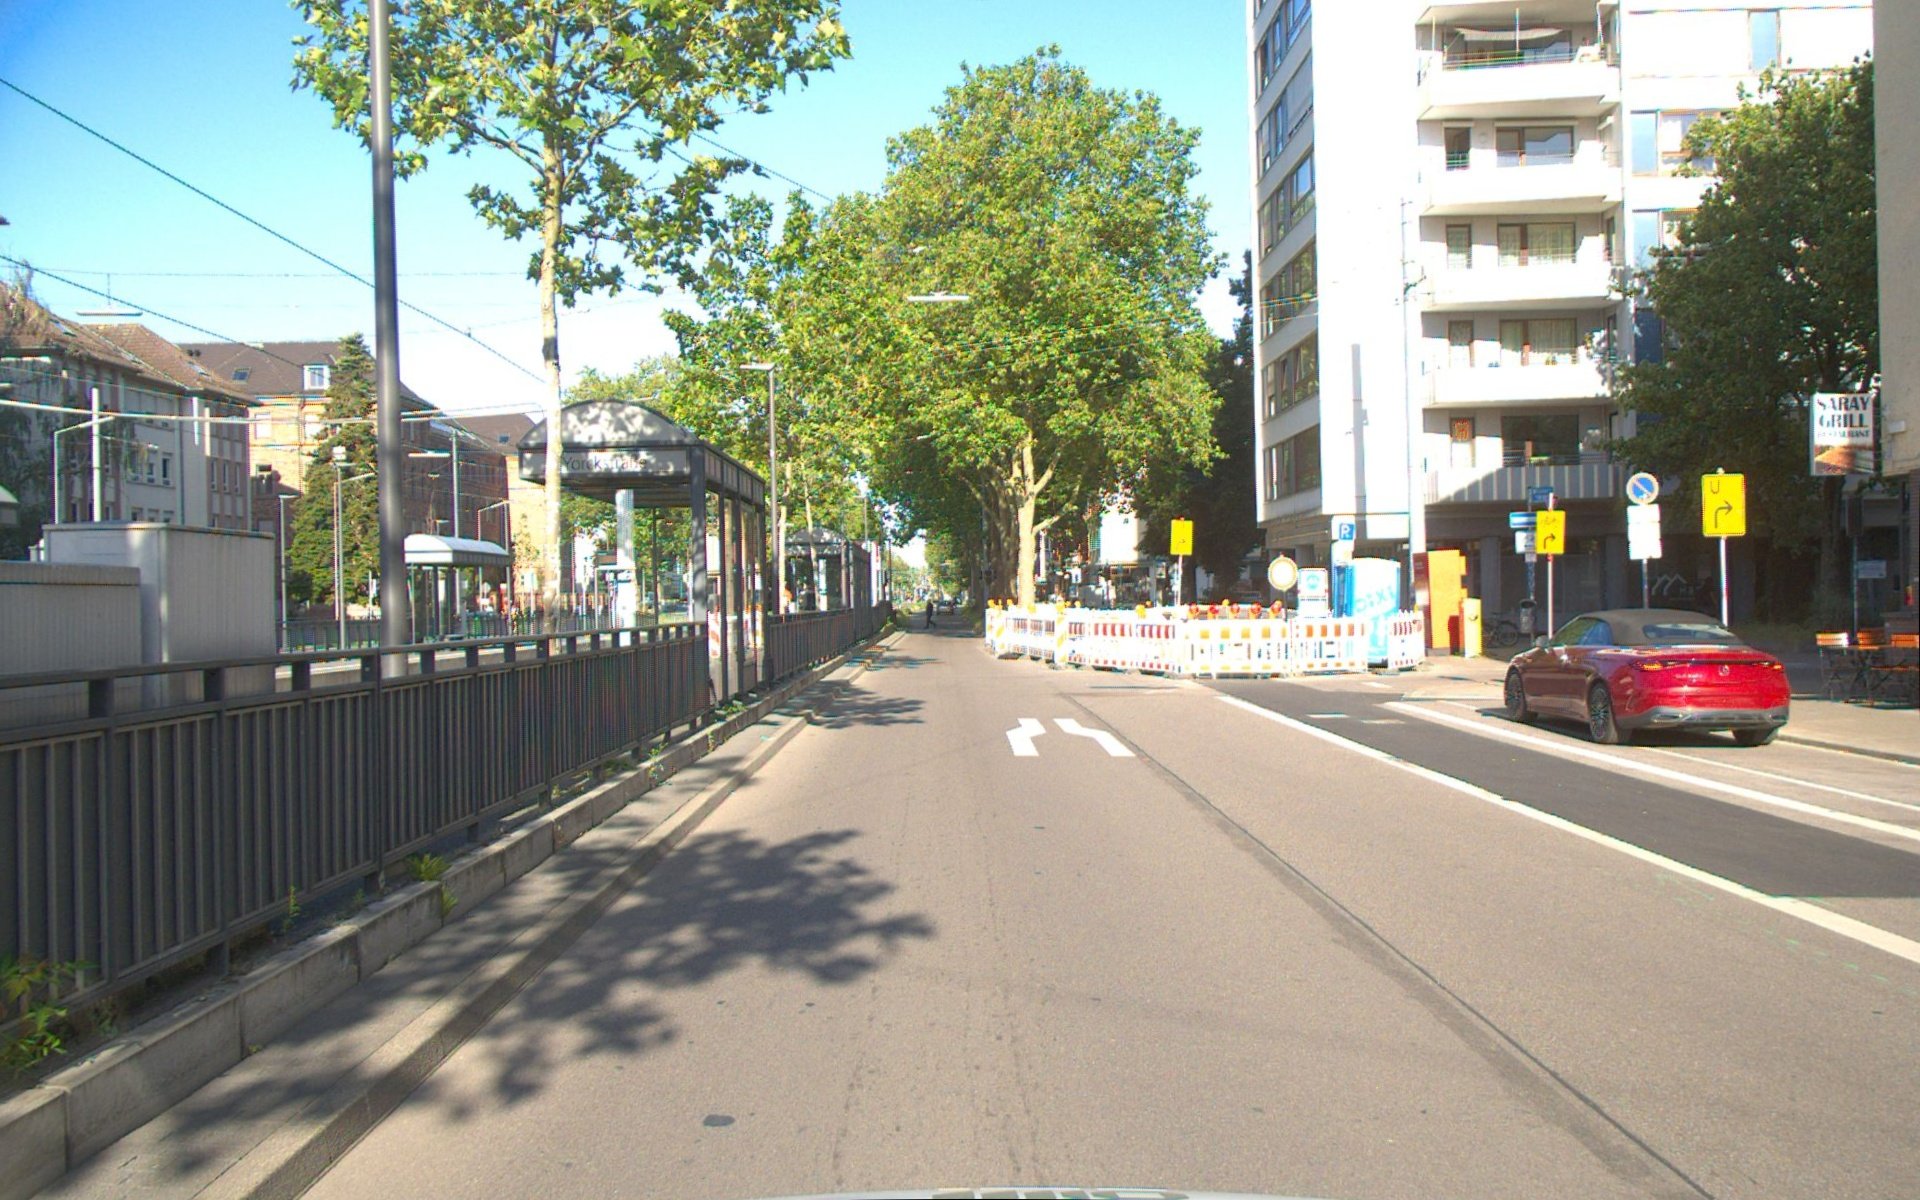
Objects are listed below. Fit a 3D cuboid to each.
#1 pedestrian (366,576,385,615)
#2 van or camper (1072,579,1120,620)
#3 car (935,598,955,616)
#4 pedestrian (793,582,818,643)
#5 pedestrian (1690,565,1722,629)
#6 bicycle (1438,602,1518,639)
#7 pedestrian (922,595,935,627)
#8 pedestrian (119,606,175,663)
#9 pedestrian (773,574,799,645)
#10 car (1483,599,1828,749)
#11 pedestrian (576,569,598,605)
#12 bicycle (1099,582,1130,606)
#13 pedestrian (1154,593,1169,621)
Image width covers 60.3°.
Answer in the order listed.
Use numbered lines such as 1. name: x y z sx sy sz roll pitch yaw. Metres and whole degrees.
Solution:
1. pedestrian: -28.410 -0.199 80.416 0.678 1.869 0.573 -1 0 -1
2. van or camper: 8.017 -0.012 97.922 2.244 2.326 5.821 -1 0 -1
3. car: -1.574 0.702 167.383 1.980 1.691 3.999 -1 0 -1
4. pedestrian: -4.637 0.382 49.611 0.668 1.815 0.754 -1 0 0
5. pedestrian: 22.545 -0.090 49.998 0.642 1.887 0.678 1 0 1
6. bicycle: 13.719 0.540 43.800 1.986 0.959 1.018 -1 0 19
7. pedestrian: -1.754 0.595 91.286 0.697 1.710 0.772 -1 0 -2
8. pedestrian: -20.293 0.849 41.277 0.955 1.400 0.879 -1 0 -2
9. pedestrian: -5.077 0.279 48.280 0.654 2.049 0.716 -1 0 0
10. car: 7.806 0.739 19.207 1.833 1.468 5.159 -1 0 0
11. pedestrian: -18.908 -0.656 83.832 0.933 1.766 0.730 -1 0 2
12. bicycle: 8.807 -0.332 94.159 1.572 1.285 0.962 -2 0 -5
13. pedestrian: 12.208 0.421 100.082 0.717 1.644 1.035 -1 0 -1
